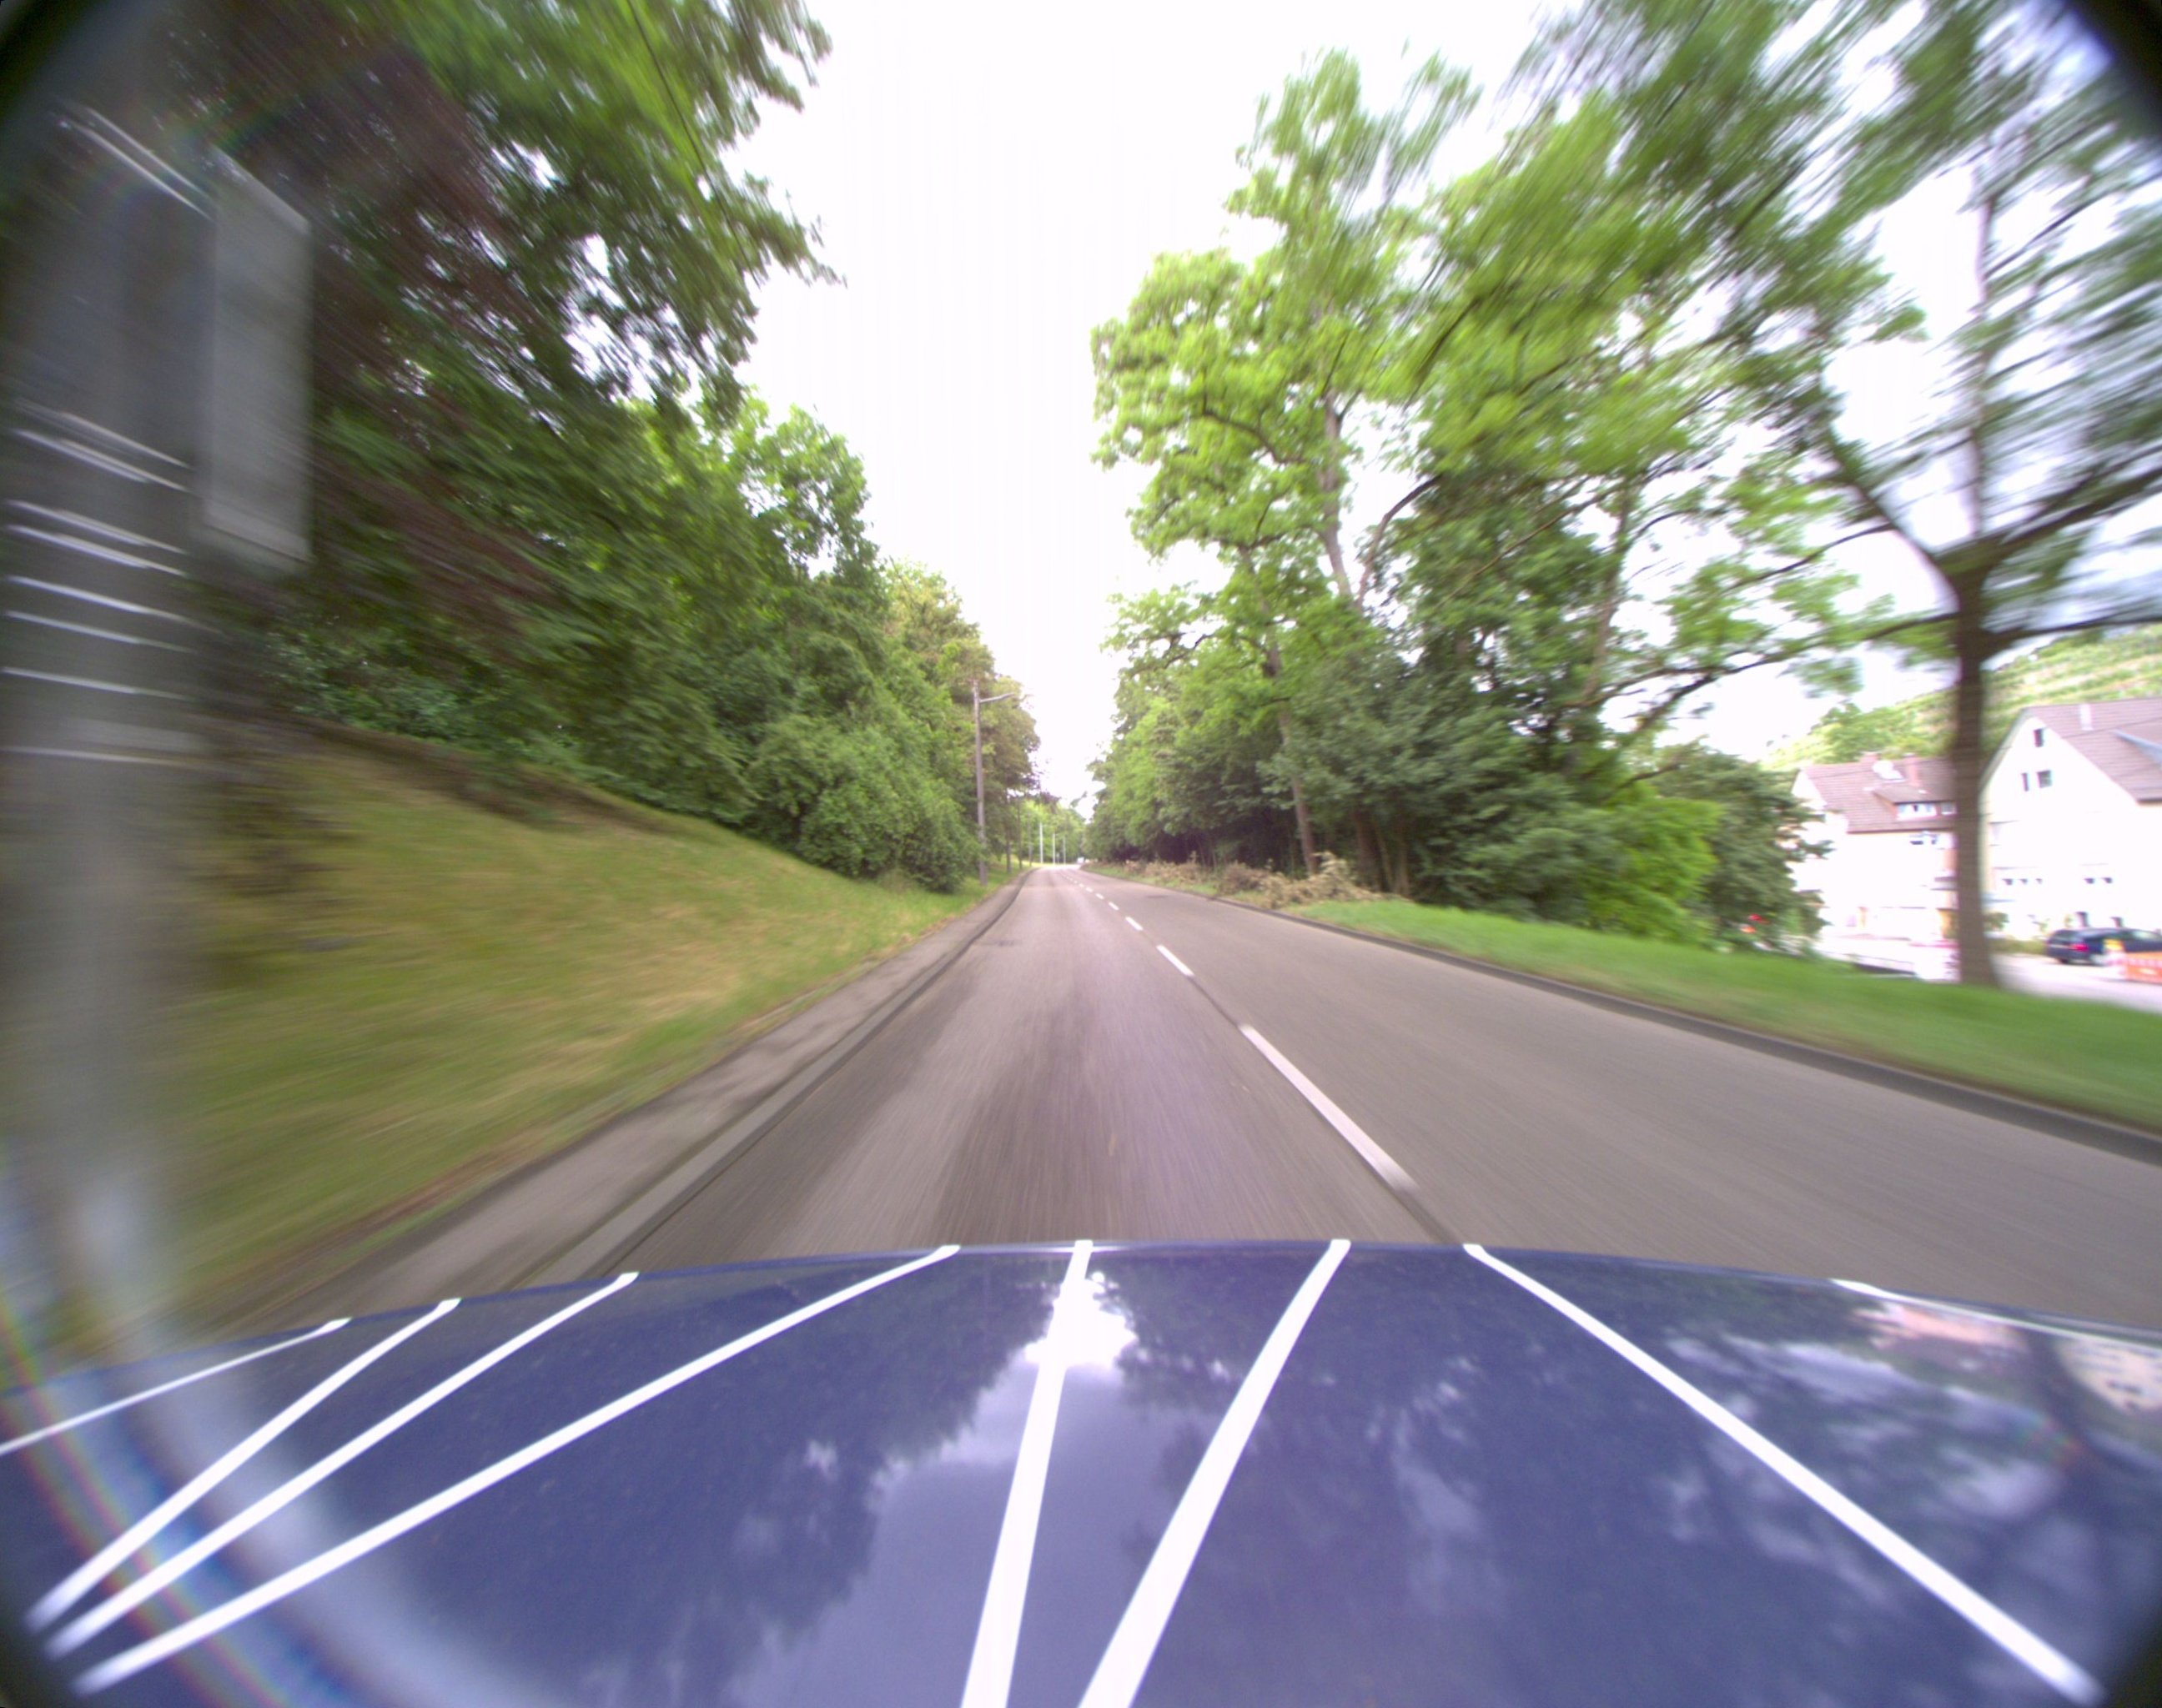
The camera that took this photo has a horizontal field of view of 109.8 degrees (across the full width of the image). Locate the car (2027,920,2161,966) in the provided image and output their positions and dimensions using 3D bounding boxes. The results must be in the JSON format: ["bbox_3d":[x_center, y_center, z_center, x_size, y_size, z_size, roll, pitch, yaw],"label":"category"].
[{"bbox_3d":[46.824,4.062,34.909,3.842,1.870,1.723,-3,-2,16],"label":"car"}]

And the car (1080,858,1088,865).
[{"bbox_3d":[0.829,2.003,201.984,1.999,1.936,4.945,-1,0,-1],"label":"car"}]
